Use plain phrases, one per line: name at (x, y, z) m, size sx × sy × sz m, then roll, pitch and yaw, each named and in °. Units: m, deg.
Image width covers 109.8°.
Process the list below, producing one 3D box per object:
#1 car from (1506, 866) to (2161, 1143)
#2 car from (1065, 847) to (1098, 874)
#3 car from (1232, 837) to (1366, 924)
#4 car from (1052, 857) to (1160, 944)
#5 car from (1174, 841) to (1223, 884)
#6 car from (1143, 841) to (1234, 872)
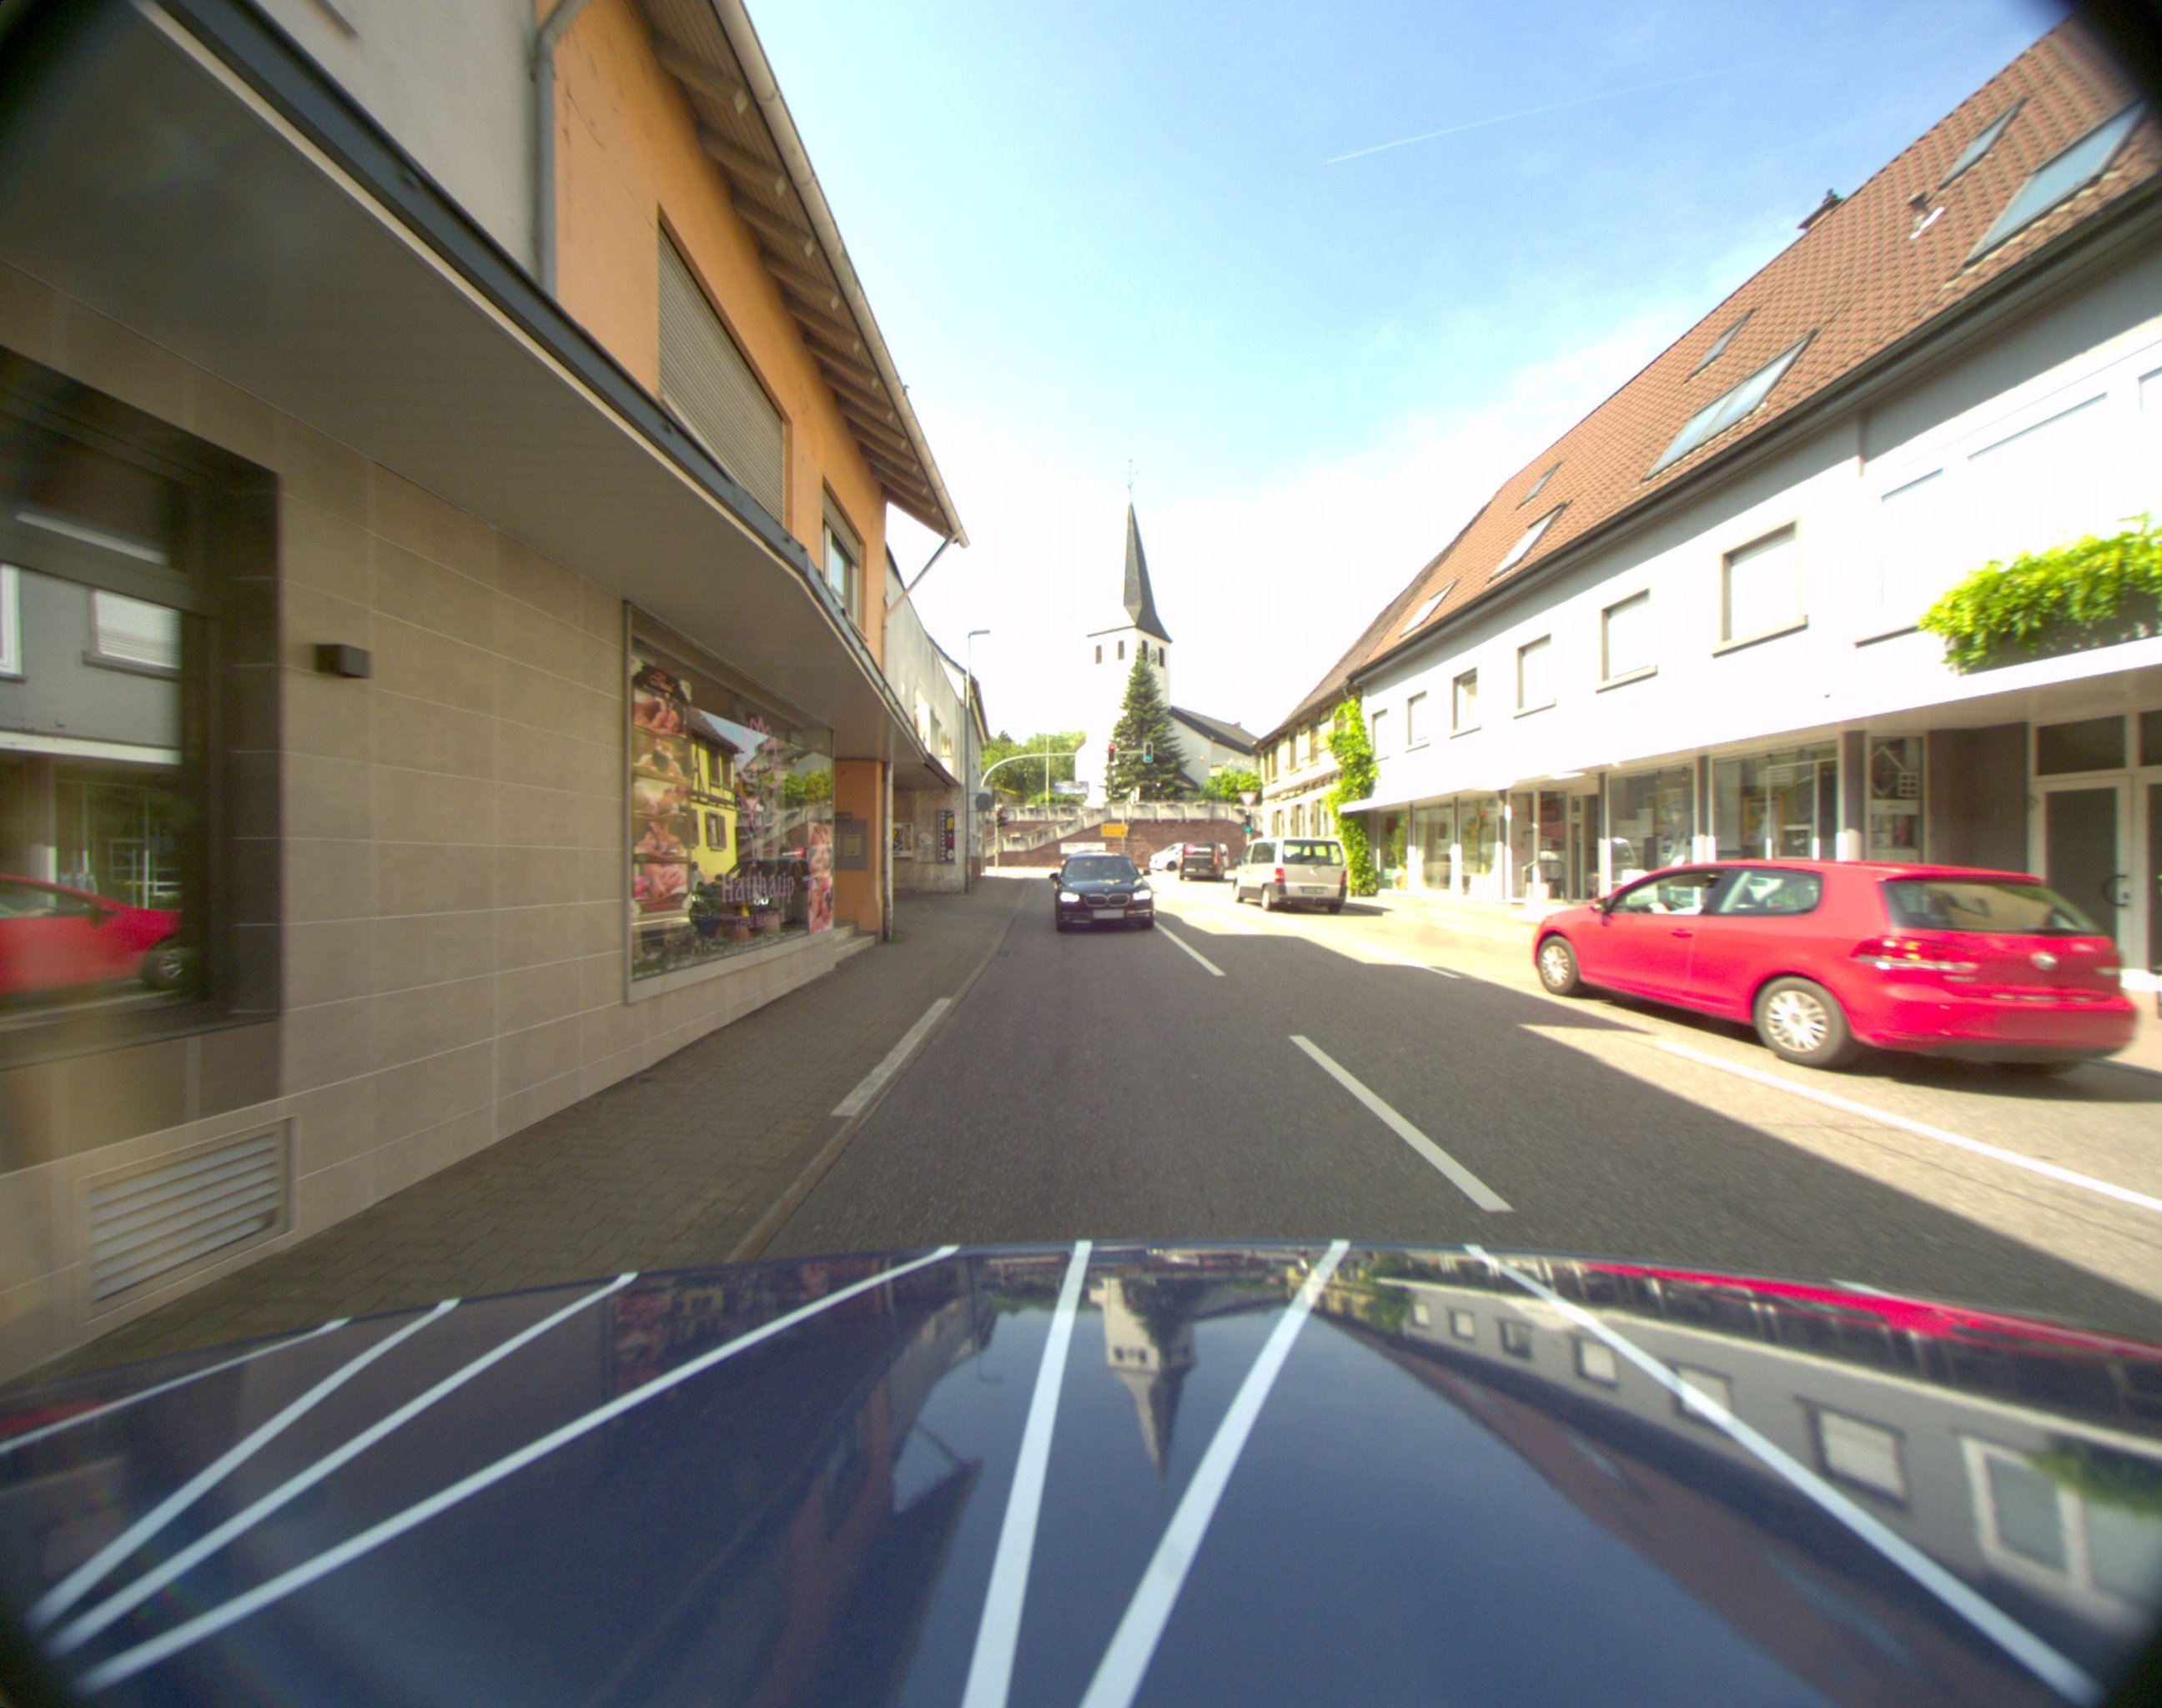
car at (5.708, 0.917, 6.450) m, size 1.763 × 1.484 × 4.075 m, roll 1°, pitch 1°, yaw -2°
car at (-0.015, 0.336, 43.153) m, size 1.697 × 1.429 × 4.265 m, roll 1°, pitch 1°, yaw -1°
car at (5.333, 0.570, 19.279) m, size 1.888 × 1.880 × 4.550 m, roll 2°, pitch 1°, yaw -2°
car at (0.384, 0.800, 15.033) m, size 1.825 × 1.426 × 4.247 m, roll 0°, pitch 0°, yaw -1°
car at (5.969, 0.379, 38.062) m, size 2.162 × 1.912 × 5.169 m, roll 3°, pitch 1°, yaw 10°
car at (7.216, 0.166, 51.199) m, size 5.597 × 1.880 × 2.291 m, roll 1°, pitch 1°, yaw -18°
